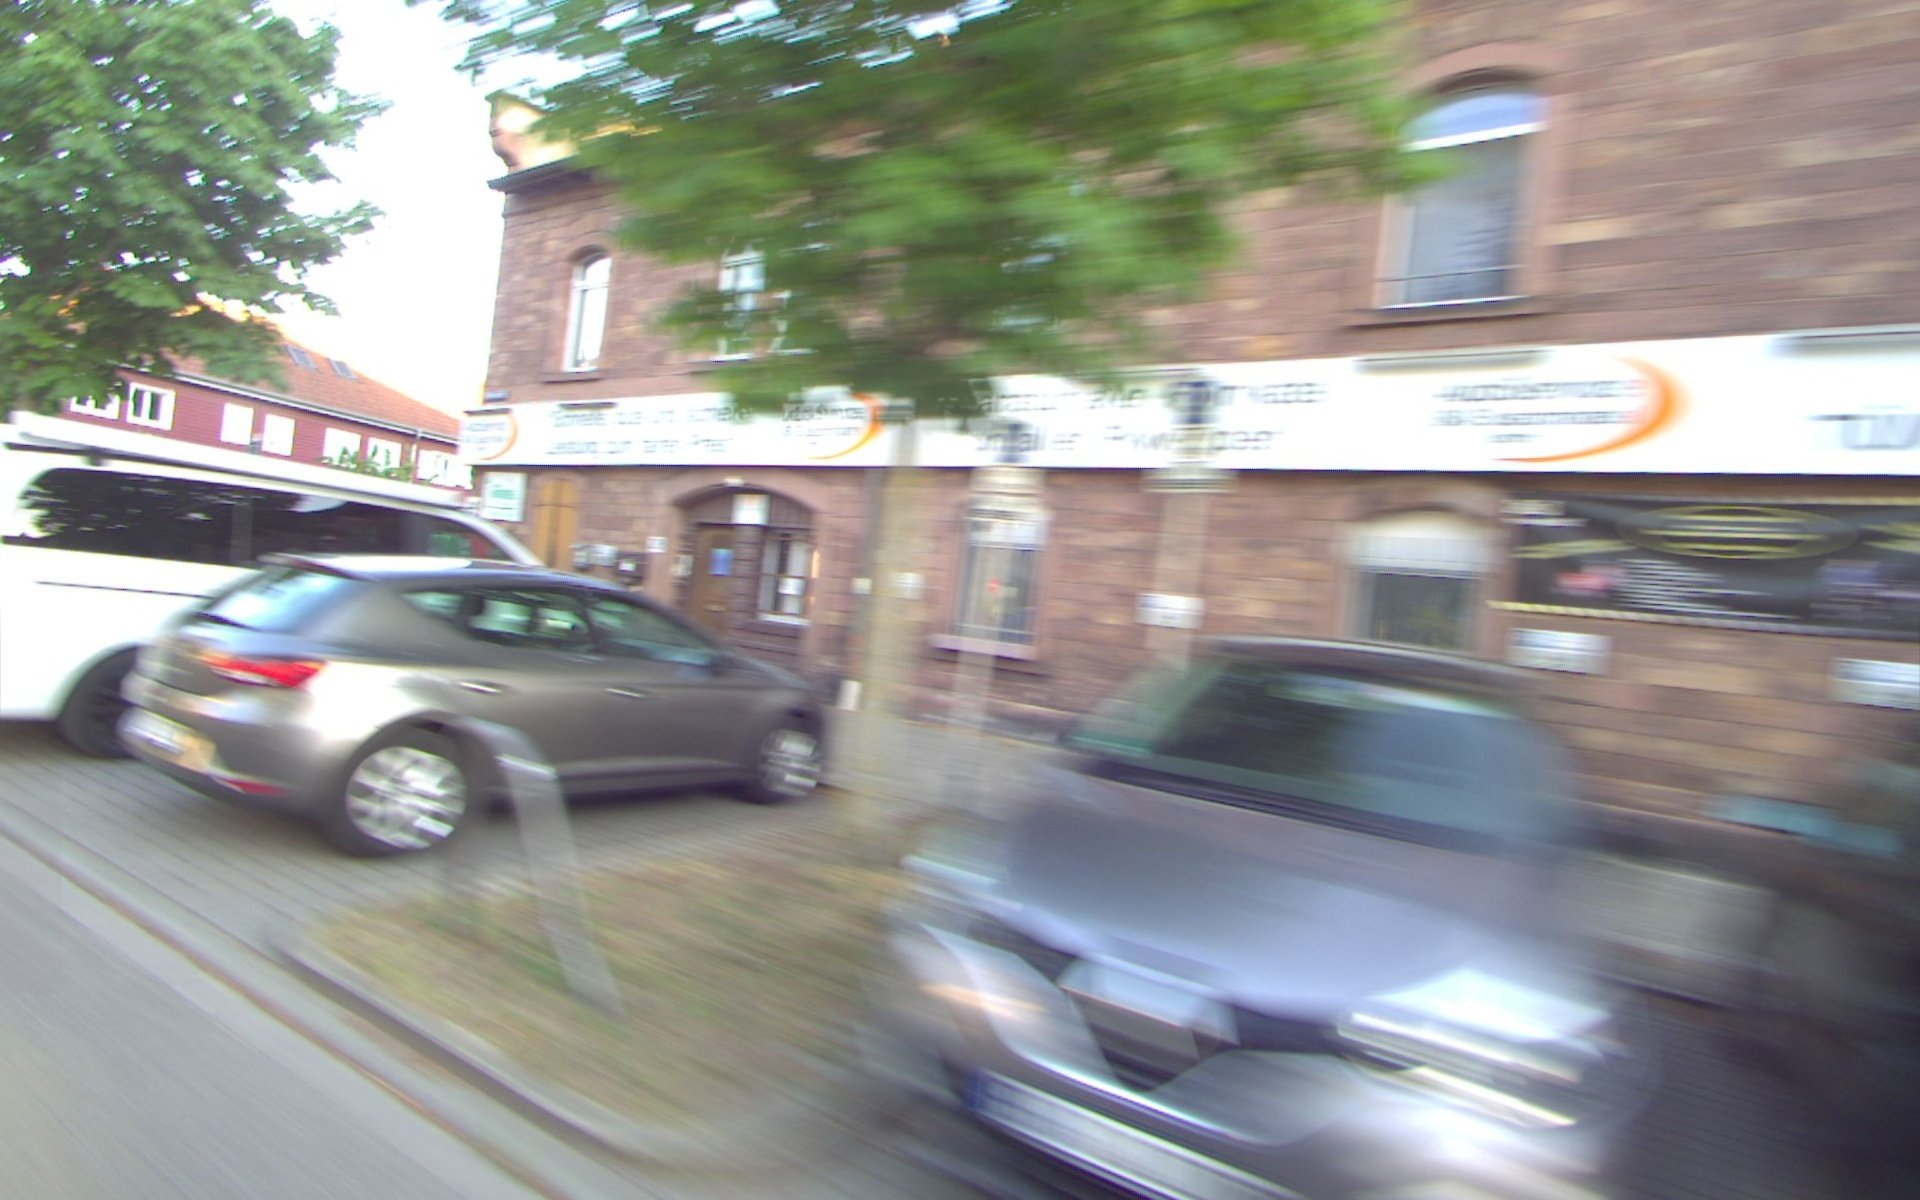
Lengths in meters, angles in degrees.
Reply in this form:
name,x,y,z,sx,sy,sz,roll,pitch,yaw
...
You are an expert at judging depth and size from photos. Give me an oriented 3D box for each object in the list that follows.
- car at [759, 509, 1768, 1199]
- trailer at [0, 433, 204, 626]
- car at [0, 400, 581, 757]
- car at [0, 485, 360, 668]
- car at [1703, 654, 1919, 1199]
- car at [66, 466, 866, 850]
name,x,y,z,sx,sy,sz,roll,pitch,yaw
car,1.326,0.821,3.709,1.790,1.583,3.955,6,-2,29
trailer,-12.545,-1.000,12.873,1.967,2.213,3.993,6,-2,33
car,-5.182,-0.038,7.348,1.967,1.926,3.993,6,-2,32
car,-8.835,-0.258,10.091,1.744,1.516,4.434,6,-2,32
car,3.299,1.066,2.501,1.864,1.639,3.988,6,1,32
car,-2.563,0.354,6.197,1.747,1.527,3.993,6,-2,33
